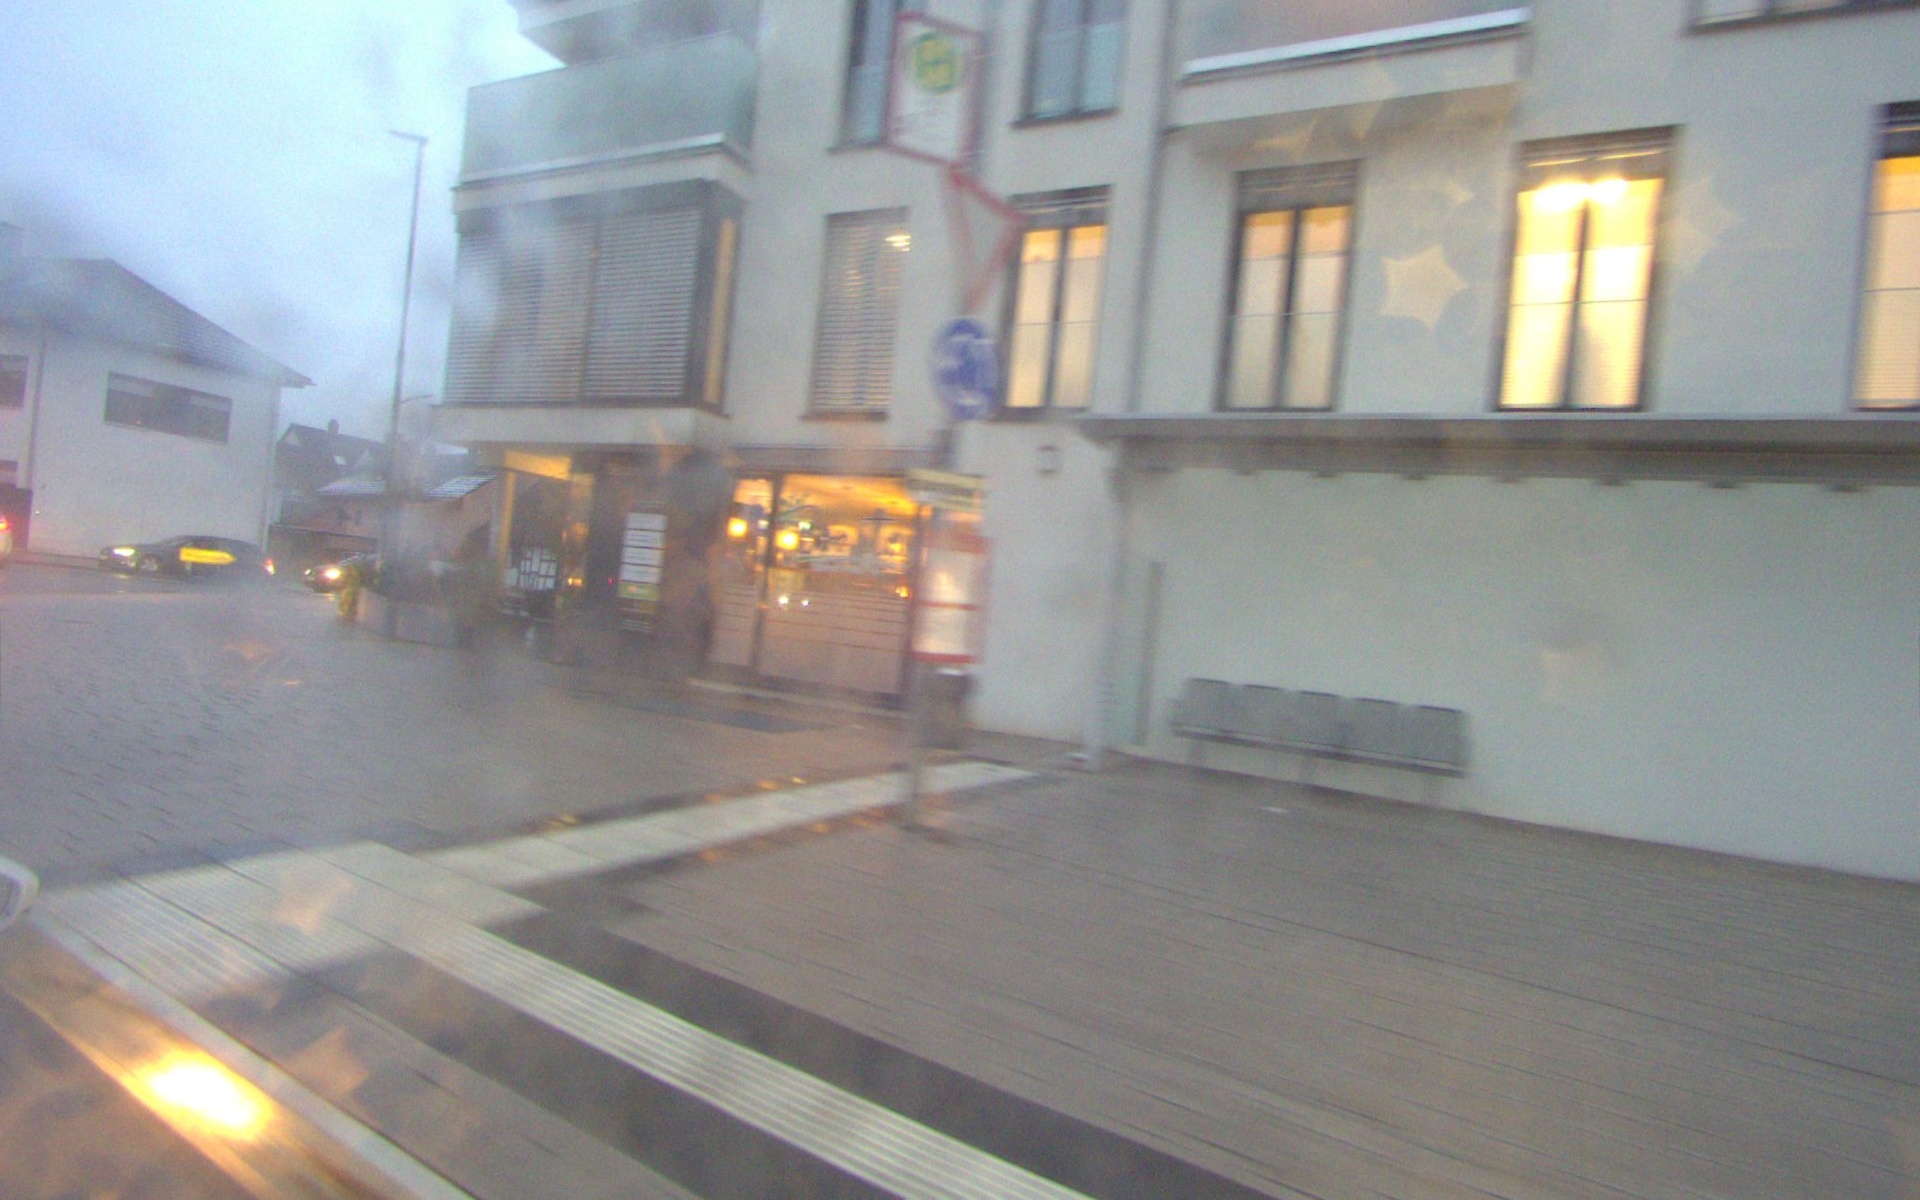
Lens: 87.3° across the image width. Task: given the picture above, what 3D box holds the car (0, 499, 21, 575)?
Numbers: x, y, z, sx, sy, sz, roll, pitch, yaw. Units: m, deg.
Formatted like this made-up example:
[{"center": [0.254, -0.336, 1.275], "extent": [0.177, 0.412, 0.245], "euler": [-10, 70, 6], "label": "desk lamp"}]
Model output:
[{"center": [-22.038, -1.561, 21.631], "extent": [3.869, 1.557, 1.779], "euler": [7, 0, 34], "label": "car"}]

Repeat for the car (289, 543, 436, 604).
[{"center": [-20.736, -0.890, 35.064], "extent": [1.668, 1.569, 3.996], "euler": [5, -3, 30], "label": "car"}]

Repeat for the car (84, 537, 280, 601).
[{"center": [-23.310, -0.893, 30.335], "extent": [1.819, 1.399, 4.232], "euler": [3, -3, 28], "label": "car"}]
